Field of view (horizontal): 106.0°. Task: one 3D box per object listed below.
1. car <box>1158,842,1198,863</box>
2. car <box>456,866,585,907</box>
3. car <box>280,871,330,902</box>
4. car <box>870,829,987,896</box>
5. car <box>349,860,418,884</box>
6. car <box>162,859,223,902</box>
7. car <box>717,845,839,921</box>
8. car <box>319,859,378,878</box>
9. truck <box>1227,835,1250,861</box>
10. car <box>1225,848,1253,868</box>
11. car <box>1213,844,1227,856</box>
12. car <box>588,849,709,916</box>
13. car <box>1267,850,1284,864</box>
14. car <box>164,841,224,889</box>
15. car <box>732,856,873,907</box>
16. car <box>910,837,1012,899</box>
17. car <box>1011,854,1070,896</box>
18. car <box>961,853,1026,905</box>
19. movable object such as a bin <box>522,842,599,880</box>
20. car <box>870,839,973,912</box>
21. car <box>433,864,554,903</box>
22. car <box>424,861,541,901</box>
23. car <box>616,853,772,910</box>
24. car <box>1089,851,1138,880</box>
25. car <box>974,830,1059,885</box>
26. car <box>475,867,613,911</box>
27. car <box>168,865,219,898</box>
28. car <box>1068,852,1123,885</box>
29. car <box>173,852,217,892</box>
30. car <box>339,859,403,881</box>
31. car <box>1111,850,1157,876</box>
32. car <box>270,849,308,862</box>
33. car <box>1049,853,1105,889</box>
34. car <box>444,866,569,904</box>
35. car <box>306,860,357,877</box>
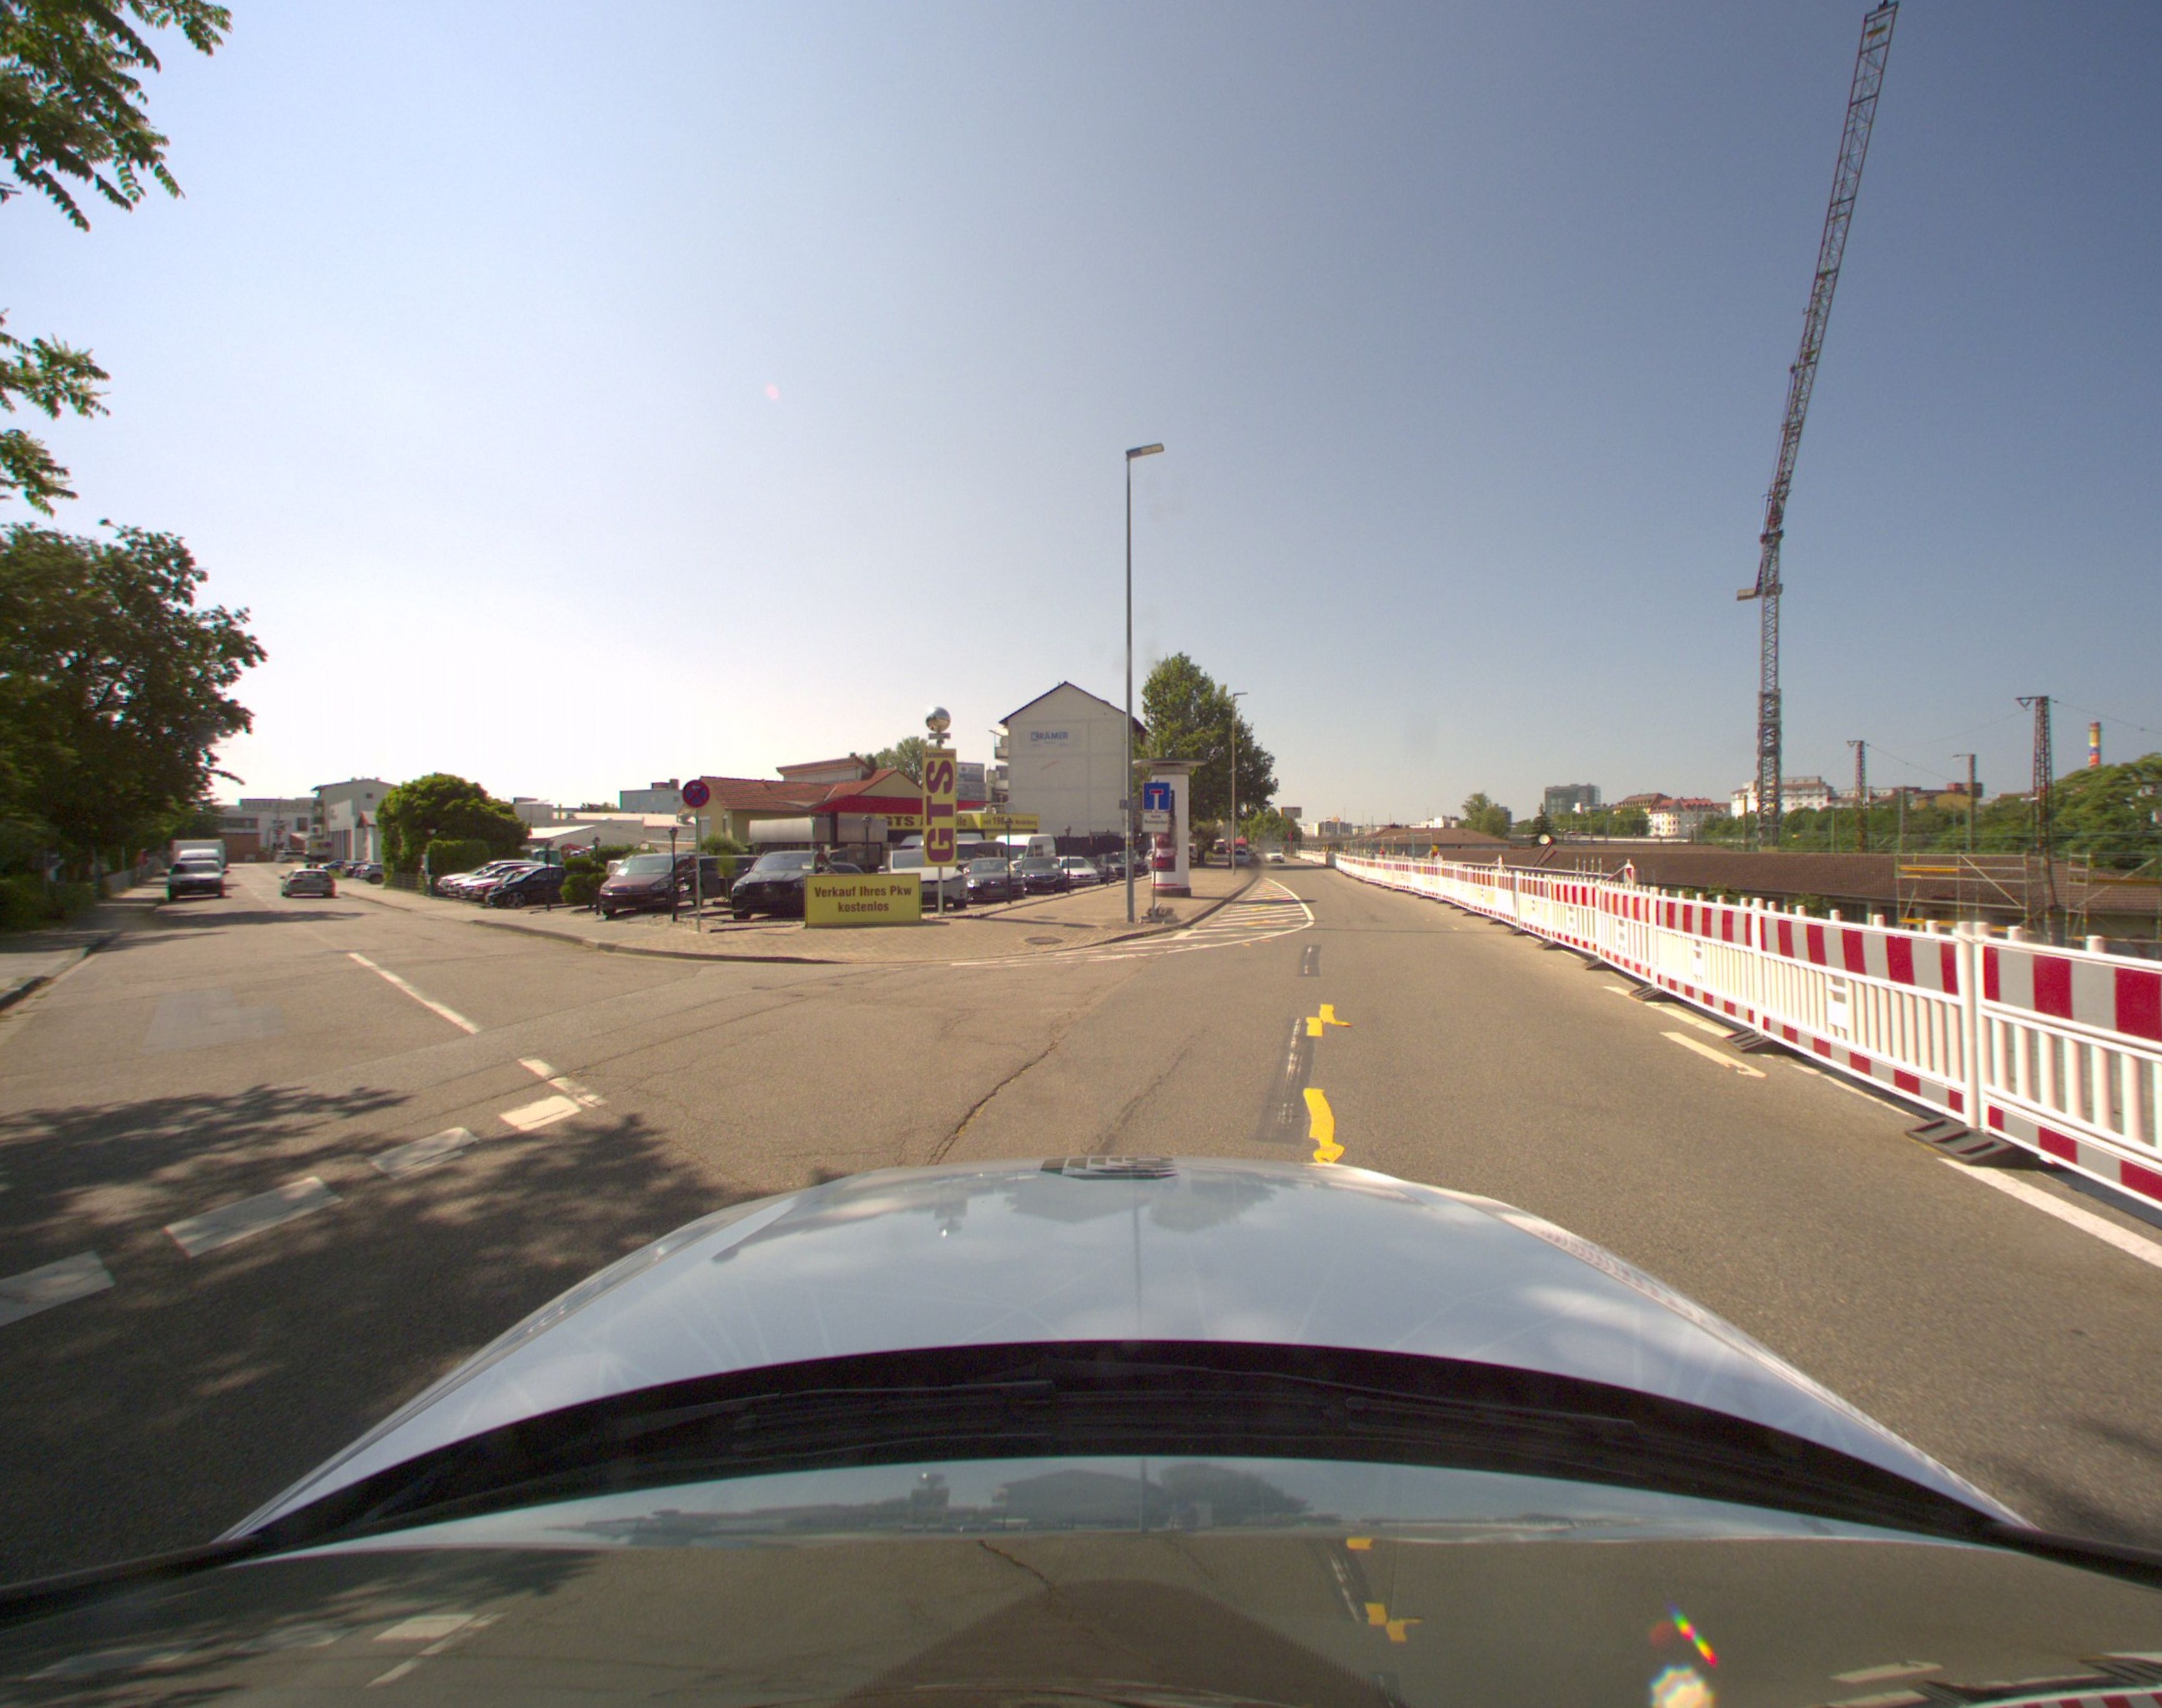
[{"bbox_3d":[9.622,-0.144,80.725,3.902,1.958,1.762,1,0,6],"label":"car"},{"bbox_3d":[-23.336,1.308,34.016,1.775,1.489,4.084,-1,0,41],"label":"car"},{"bbox_3d":[-40.696,1.684,42.682,4.548,1.493,1.693,-1,0,44],"label":"car"},{"bbox_3d":[-6.767,0.393,37.021,2.257,2.758,6.184,-1,-1,21],"label":"car"},{"bbox_3d":[-53.876,1.375,62.937,1.832,1.763,3.864,0,-1,44],"label":"car"},{"bbox_3d":[-45.715,1.334,41.971,3.949,2.056,2.053,-2,-1,43],"label":"car"},{"bbox_3d":[-7.639,0.713,20.991,2.041,1.707,4.302,-1,-1,-8],"label":"car"},{"bbox_3d":[-66.968,1.307,74.450,1.760,1.763,3.864,0,-1,44],"label":"car"},{"bbox_3d":[16.822,-0.638,86.691,2.223,2.648,5.701,0,0,12],"label":"truck"},{"bbox_3d":[13.114,0.316,67.505,1.854,1.498,4.050,-1,1,17],"label":"car"},{"bbox_3d":[24.552,-0.683,144.117,1.922,1.834,3.940,3,0,16],"label":"car"},{"bbox_3d":[-12.197,0.741,23.287,1.805,1.656,4.299,-2,0,-11],"label":"car"},{"bbox_3d":[20.335,0.276,85.322,1.705,1.415,4.092,0,0,12],"label":"car"},{"bbox_3d":[-65.098,0.808,59.847,7.684,3.317,2.832,-1,0,43],"label":"car"},{"bbox_3d":[-9.786,0.913,29.030,1.891,1.575,4.715,-1,0,27],"label":"car"},{"bbox_3d":[-4.869,0.587,33.805,2.228,2.350,4.846,-1,-1,18],"label":"car"},{"bbox_3d":[-1.663,0.781,31.974,1.836,1.473,3.988,-3,0,-9],"label":"car"},{"bbox_3d":[-2.938,0.778,26.688,1.836,1.473,3.987,-3,0,-9],"label":"car"},{"bbox_3d":[-41.690,0.549,65.272,4.861,2.907,1.975,-1,0,-44],"label":"movable object such as a bin"},{"bbox_3d":[-4.452,0.623,22.111,1.982,1.707,4.631,-2,-2,-20],"label":"car"},{"bbox_3d":[-26.869,1.294,37.348,1.846,1.603,4.151,-1,0,41],"label":"car"},{"bbox_3d":[-28.667,1.248,39.097,1.868,1.750,4.198,-1,0,41],"label":"car"},{"bbox_3d":[-13.876,0.940,29.478,4.898,1.842,2.146,-1,0,-24],"label":"car"},{"bbox_3d":[1.803,0.621,45.910,1.669,1.473,3.981,-3,0,-14],"label":"car"},{"bbox_3d":[-3.021,0.190,39.919,2.229,2.430,5.741,3,0,15],"label":"car"},{"bbox_3d":[-21.024,1.320,31.994,1.846,1.489,4.159,-1,0,41],"label":"car"},{"bbox_3d":[-49.212,1.496,45.194,3.949,1.692,1.849,-1,0,43],"label":"car"},{"bbox_3d":[0.672,0.724,41.405,1.671,1.473,3.978,-3,0,-16],"label":"car"},{"bbox_3d":[-56.901,1.134,52.336,3.949,2.504,1.849,-1,0,43],"label":"car"},{"bbox_3d":[-58.279,1.279,66.881,1.760,1.763,3.864,0,-1,44],"label":"car"},{"bbox_3d":[3.203,0.565,50.358,1.669,1.473,3.981,-3,0,-14],"label":"car"},{"bbox_3d":[-122.945,0.260,126.412,1.791,1.909,4.025,1,0,36],"label":"car"},{"bbox_3d":[-0.253,0.759,37.484,1.781,1.473,3.984,-3,0,-11],"label":"car"},{"bbox_3d":[-25.044,1.297,35.589,1.846,1.489,4.145,-1,0,41],"label":"car"},{"bbox_3d":[-80.510,1.571,87.538,1.801,1.763,3.896,0,-1,44],"label":"car"}]
